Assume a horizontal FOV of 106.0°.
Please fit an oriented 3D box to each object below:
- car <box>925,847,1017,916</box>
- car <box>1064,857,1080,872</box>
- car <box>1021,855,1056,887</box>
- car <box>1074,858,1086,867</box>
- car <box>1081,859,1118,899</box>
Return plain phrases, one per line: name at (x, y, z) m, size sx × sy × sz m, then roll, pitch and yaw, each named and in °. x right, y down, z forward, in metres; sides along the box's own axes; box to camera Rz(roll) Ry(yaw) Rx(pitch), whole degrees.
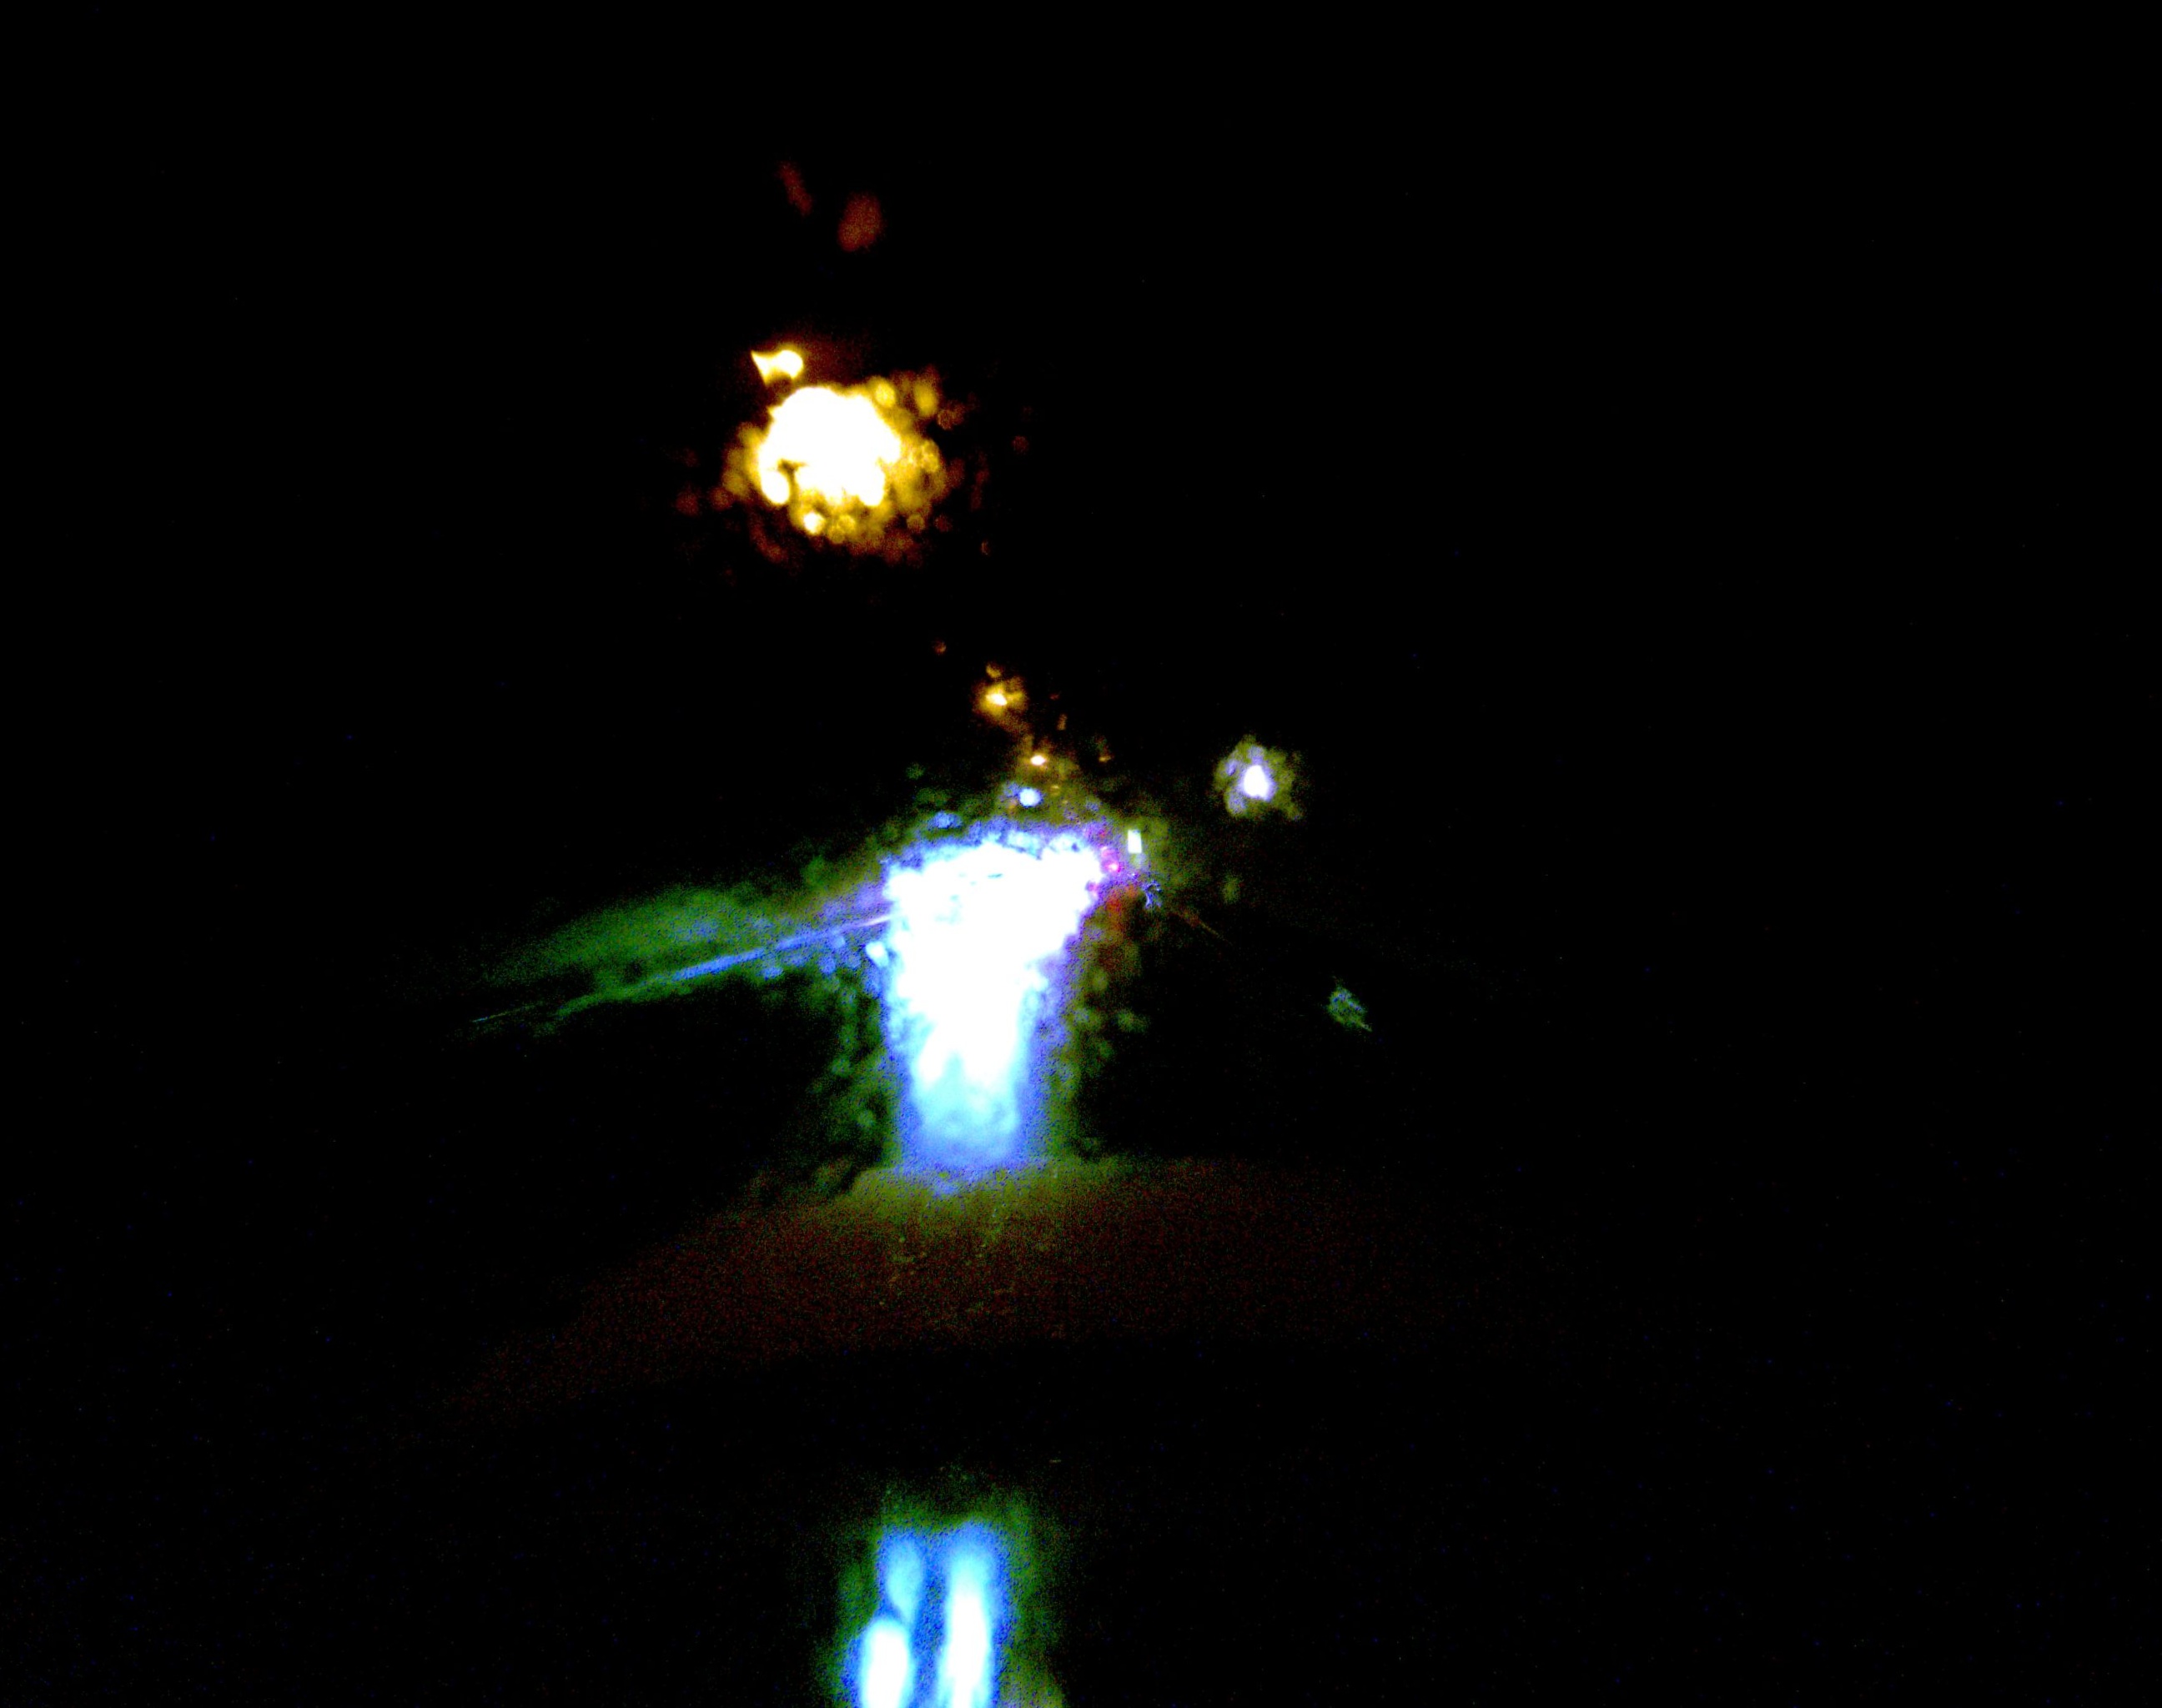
car at (-2.886, 0.672, 22.314) m, size 1.774 × 1.676 × 4.562 m, roll -1°, pitch 0°, yaw 2°
car at (-1.056, 1.224, 96.529) m, size 1.691 × 1.676 × 4.127 m, roll -1°, pitch 0°, yaw 1°
car at (-2.408, 0.938, 47.114) m, size 1.909 × 1.728 × 3.996 m, roll -1°, pitch 0°, yaw -2°
car at (-0.134, 1.364, 131.111) m, size 1.742 × 1.480 × 4.477 m, roll -1°, pitch 0°, yaw 2°
car at (0.874, 1.114, 38.373) m, size 1.629 × 1.758 × 4.147 m, roll -1°, pitch 0°, yaw 1°
